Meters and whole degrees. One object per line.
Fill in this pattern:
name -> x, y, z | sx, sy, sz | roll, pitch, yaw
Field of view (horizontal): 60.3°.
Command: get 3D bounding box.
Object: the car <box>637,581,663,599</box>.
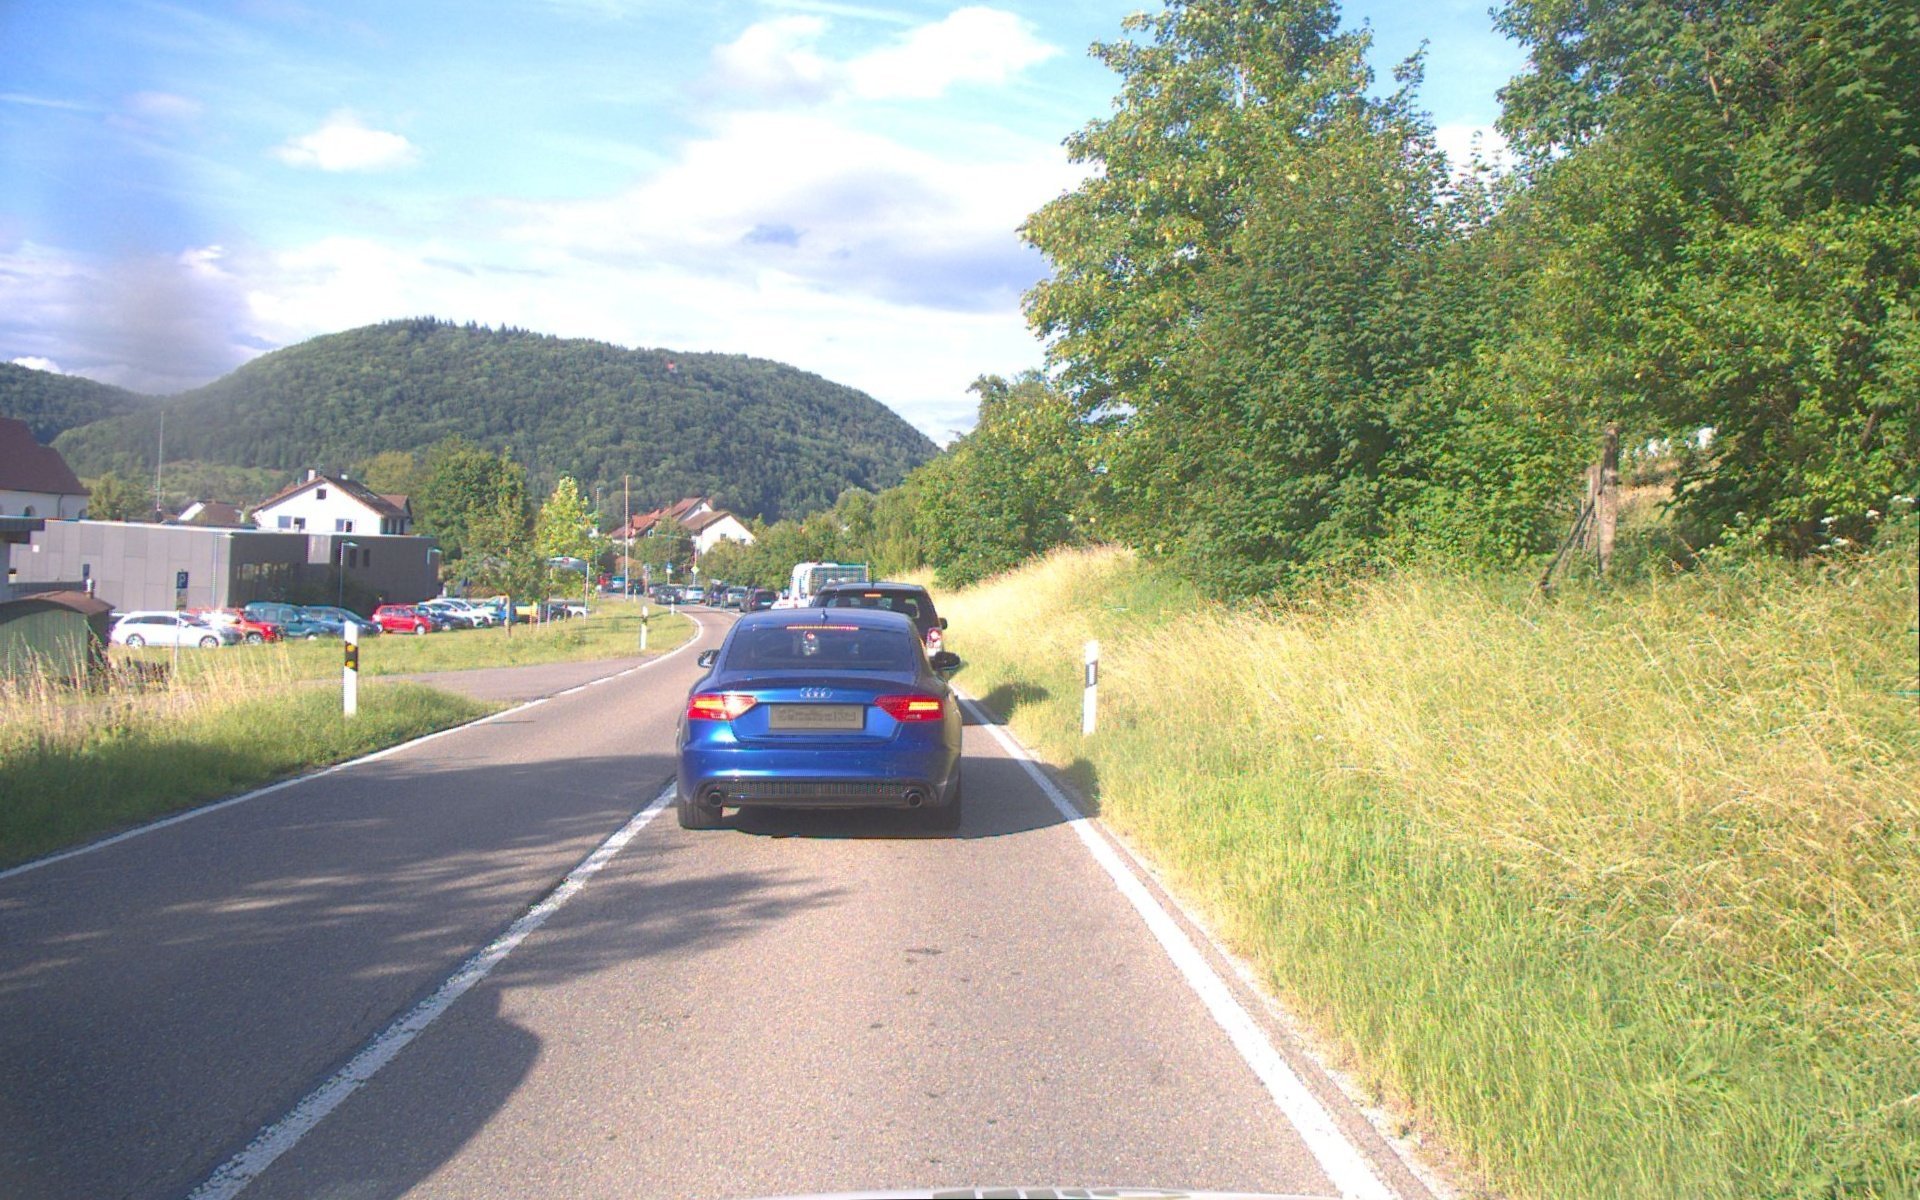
car -> -30.361, -0.977, 161.888 | 1.819, 1.742, 3.976 | 1, 0, -20

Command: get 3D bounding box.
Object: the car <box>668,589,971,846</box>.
car -> -0.861, 0.685, 11.426 | 1.719, 1.455, 3.845 | 1, 0, -2

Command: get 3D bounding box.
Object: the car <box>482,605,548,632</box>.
car -> -29.365, 1.226, 109.282 | 3.909, 1.741, 1.998 | 1, 0, -5

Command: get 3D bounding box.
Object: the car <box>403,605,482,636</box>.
car -> -29.379, 1.157, 94.036 | 3.909, 1.741, 1.998 | 1, 0, -5

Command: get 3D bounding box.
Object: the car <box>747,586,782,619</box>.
car -> -10.653, 0.132, 89.803 | 1.811, 1.742, 3.993 | 1, 0, -8

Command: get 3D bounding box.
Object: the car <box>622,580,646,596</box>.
car -> -34.790, -1.275, 176.522 | 1.819, 1.742, 3.976 | 1, 0, -20

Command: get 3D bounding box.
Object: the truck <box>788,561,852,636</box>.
truck -> -5.295, -0.049, 61.804 | 2.187, 2.615, 6.698 | 1, 0, -6

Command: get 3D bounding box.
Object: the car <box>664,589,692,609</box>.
car -> -25.427, -0.109, 149.171 | 1.819, 1.742, 3.976 | 1, 0, -20

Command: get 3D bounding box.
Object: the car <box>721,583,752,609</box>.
car -> -15.787, -0.266, 116.516 | 1.814, 1.742, 3.987 | 1, 0, -13

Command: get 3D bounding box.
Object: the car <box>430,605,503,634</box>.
car -> -30.073, 1.177, 100.948 | 3.909, 1.741, 1.998 | 1, 0, -5

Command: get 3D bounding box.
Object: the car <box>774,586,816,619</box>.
car -> -7.813, 0.122, 77.925 | 1.811, 1.508, 3.993 | 1, 0, -8

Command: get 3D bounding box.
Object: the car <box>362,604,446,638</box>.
car -> -30.048, 1.126, 89.425 | 3.909, 1.741, 1.998 | 1, 0, -5

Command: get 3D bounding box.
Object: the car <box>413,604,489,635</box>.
car -> -30.019, 1.164, 97.664 | 3.909, 1.741, 1.998 | 1, 0, -5

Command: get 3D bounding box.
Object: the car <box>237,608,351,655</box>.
car -> -30.008, 1.396, 74.639 | 4.320, 2.043, 1.998 | 1, 0, -5

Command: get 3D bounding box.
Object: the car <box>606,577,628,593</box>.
car -> -38.492, -1.662, 185.785 | 1.819, 1.742, 3.976 | 1, 0, -20

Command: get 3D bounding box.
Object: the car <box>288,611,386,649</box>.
car -> -29.600, 1.421, 78.704 | 3.909, 1.741, 1.998 | 1, 0, -5

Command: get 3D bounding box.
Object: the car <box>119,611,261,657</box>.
car -> -30.509, 1.349, 65.665 | 4.639, 1.741, 1.998 | 1, 0, -5

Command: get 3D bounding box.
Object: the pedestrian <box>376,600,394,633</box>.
pedestrian -> -36.035, 1.045, 103.613 | 0.808, 2.049, 0.972 | 1, -1, -3

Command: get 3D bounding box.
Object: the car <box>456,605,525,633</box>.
car -> -30.286, 1.200, 106.729 | 3.909, 1.741, 1.998 | 1, 0, -5

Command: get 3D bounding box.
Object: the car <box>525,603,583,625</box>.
car -> -30.357, 1.029, 123.741 | 3.909, 1.606, 1.751 | 1, 0, -5

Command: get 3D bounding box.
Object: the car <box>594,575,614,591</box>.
car -> -41.963, -1.993, 194.925 | 1.819, 1.742, 3.976 | 1, 0, -20

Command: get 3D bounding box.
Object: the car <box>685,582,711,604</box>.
car -> -21.543, -0.558, 135.942 | 1.814, 1.742, 3.987 | 1, 0, -13

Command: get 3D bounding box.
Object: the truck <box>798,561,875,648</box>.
truck -> -3.941, 0.158, 53.698 | 2.185, 2.615, 6.101 | 1, 0, -2

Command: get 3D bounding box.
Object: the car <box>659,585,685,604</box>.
car -> -22.607, -0.444, 129.740 | 1.675, 1.455, 4.035 | 1, 0, -14

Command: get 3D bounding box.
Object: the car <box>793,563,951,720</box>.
car -> -1.030, 0.469, 20.168 | 1.719, 1.710, 3.845 | 1, 0, -2

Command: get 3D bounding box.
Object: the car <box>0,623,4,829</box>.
car -> -3.310, 0.732, 2.359 | 1.562, 1.377, 4.201 | 1, 0, -2

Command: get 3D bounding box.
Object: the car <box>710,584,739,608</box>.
car -> -17.699, -0.305, 123.983 | 1.814, 1.742, 3.987 | 1, 0, -13

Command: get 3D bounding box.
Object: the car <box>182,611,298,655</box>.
car -> -29.924, 1.372, 68.834 | 3.909, 1.741, 1.998 | 1, 0, -5
